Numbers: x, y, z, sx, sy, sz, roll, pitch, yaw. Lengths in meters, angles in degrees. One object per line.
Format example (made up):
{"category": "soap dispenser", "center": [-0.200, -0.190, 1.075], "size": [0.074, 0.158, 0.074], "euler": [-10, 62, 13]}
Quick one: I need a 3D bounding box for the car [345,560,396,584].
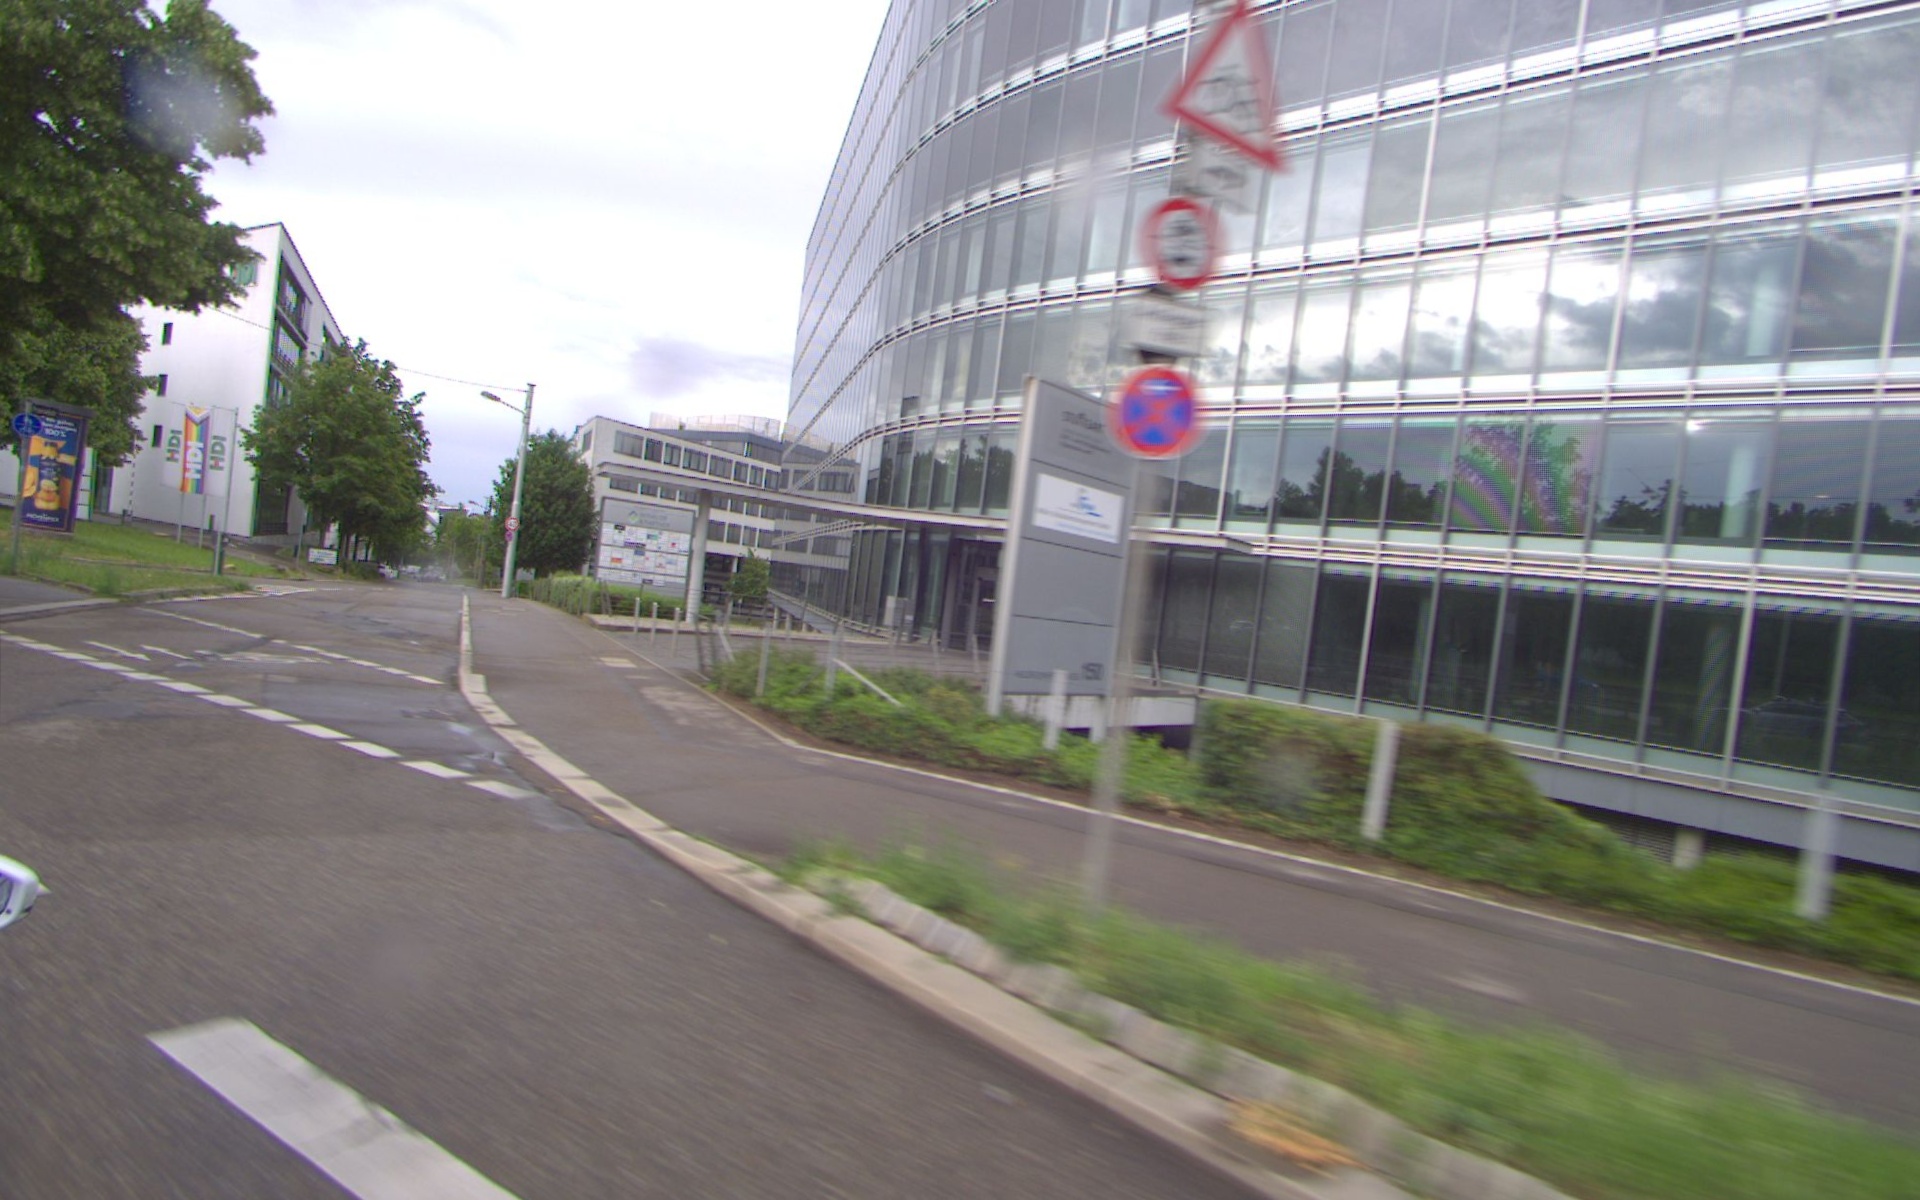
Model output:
{"category": "car", "center": [-55.491, -2.620, 94.713], "size": [3.960, 1.737, 1.983], "euler": [8, -1, -32]}
